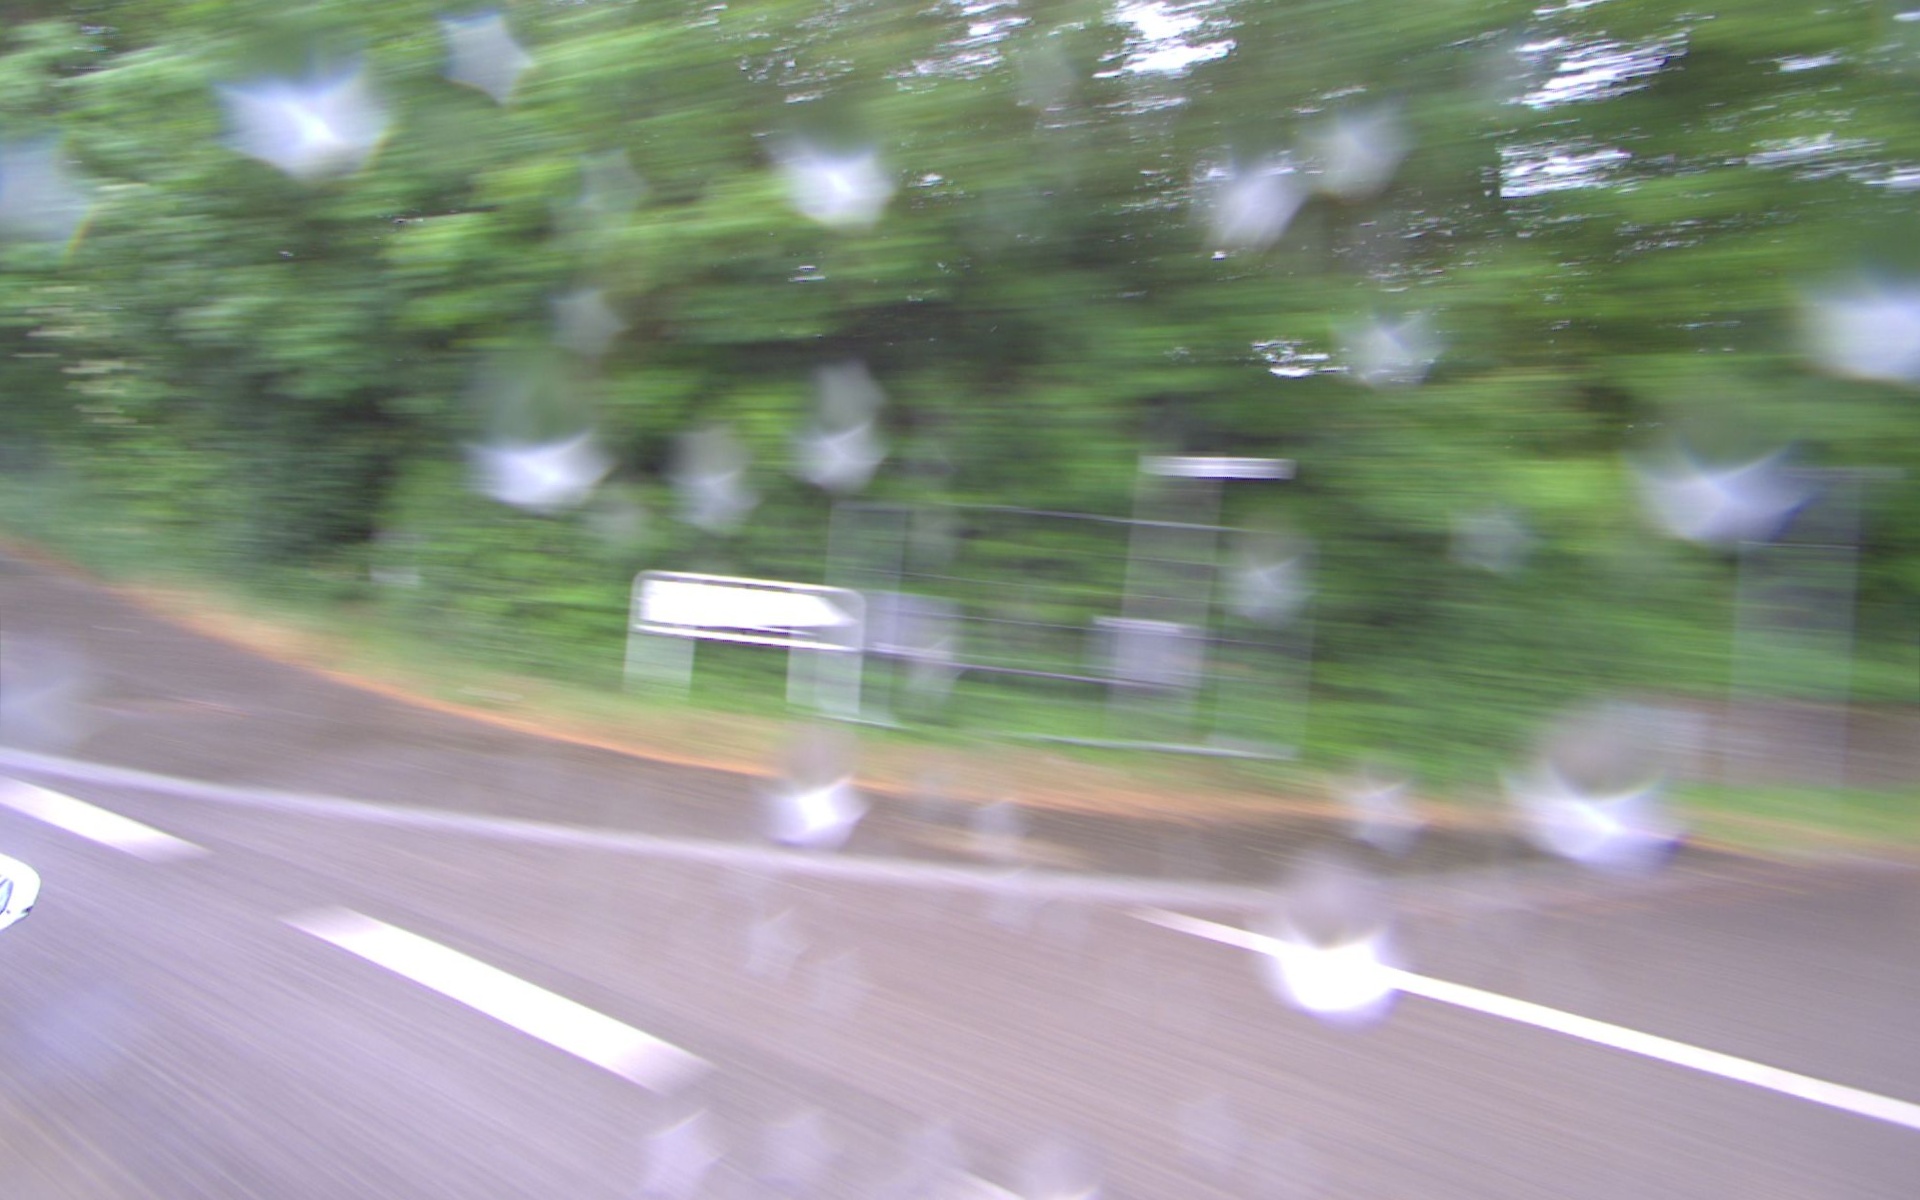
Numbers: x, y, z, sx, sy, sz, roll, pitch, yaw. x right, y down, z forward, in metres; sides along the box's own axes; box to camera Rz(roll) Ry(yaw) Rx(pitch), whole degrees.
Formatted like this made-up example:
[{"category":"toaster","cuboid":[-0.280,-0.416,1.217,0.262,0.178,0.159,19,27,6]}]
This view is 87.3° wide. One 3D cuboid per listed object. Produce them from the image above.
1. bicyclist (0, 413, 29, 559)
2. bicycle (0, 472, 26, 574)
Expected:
[{"category":"bicyclist","cuboid":[-11.396,-1.382,11.405,0.888,1.635,0.723,12,2,17]},{"category":"bicycle","cuboid":[-11.455,-0.995,11.436,1.591,1.098,0.529,12,2,23]}]
